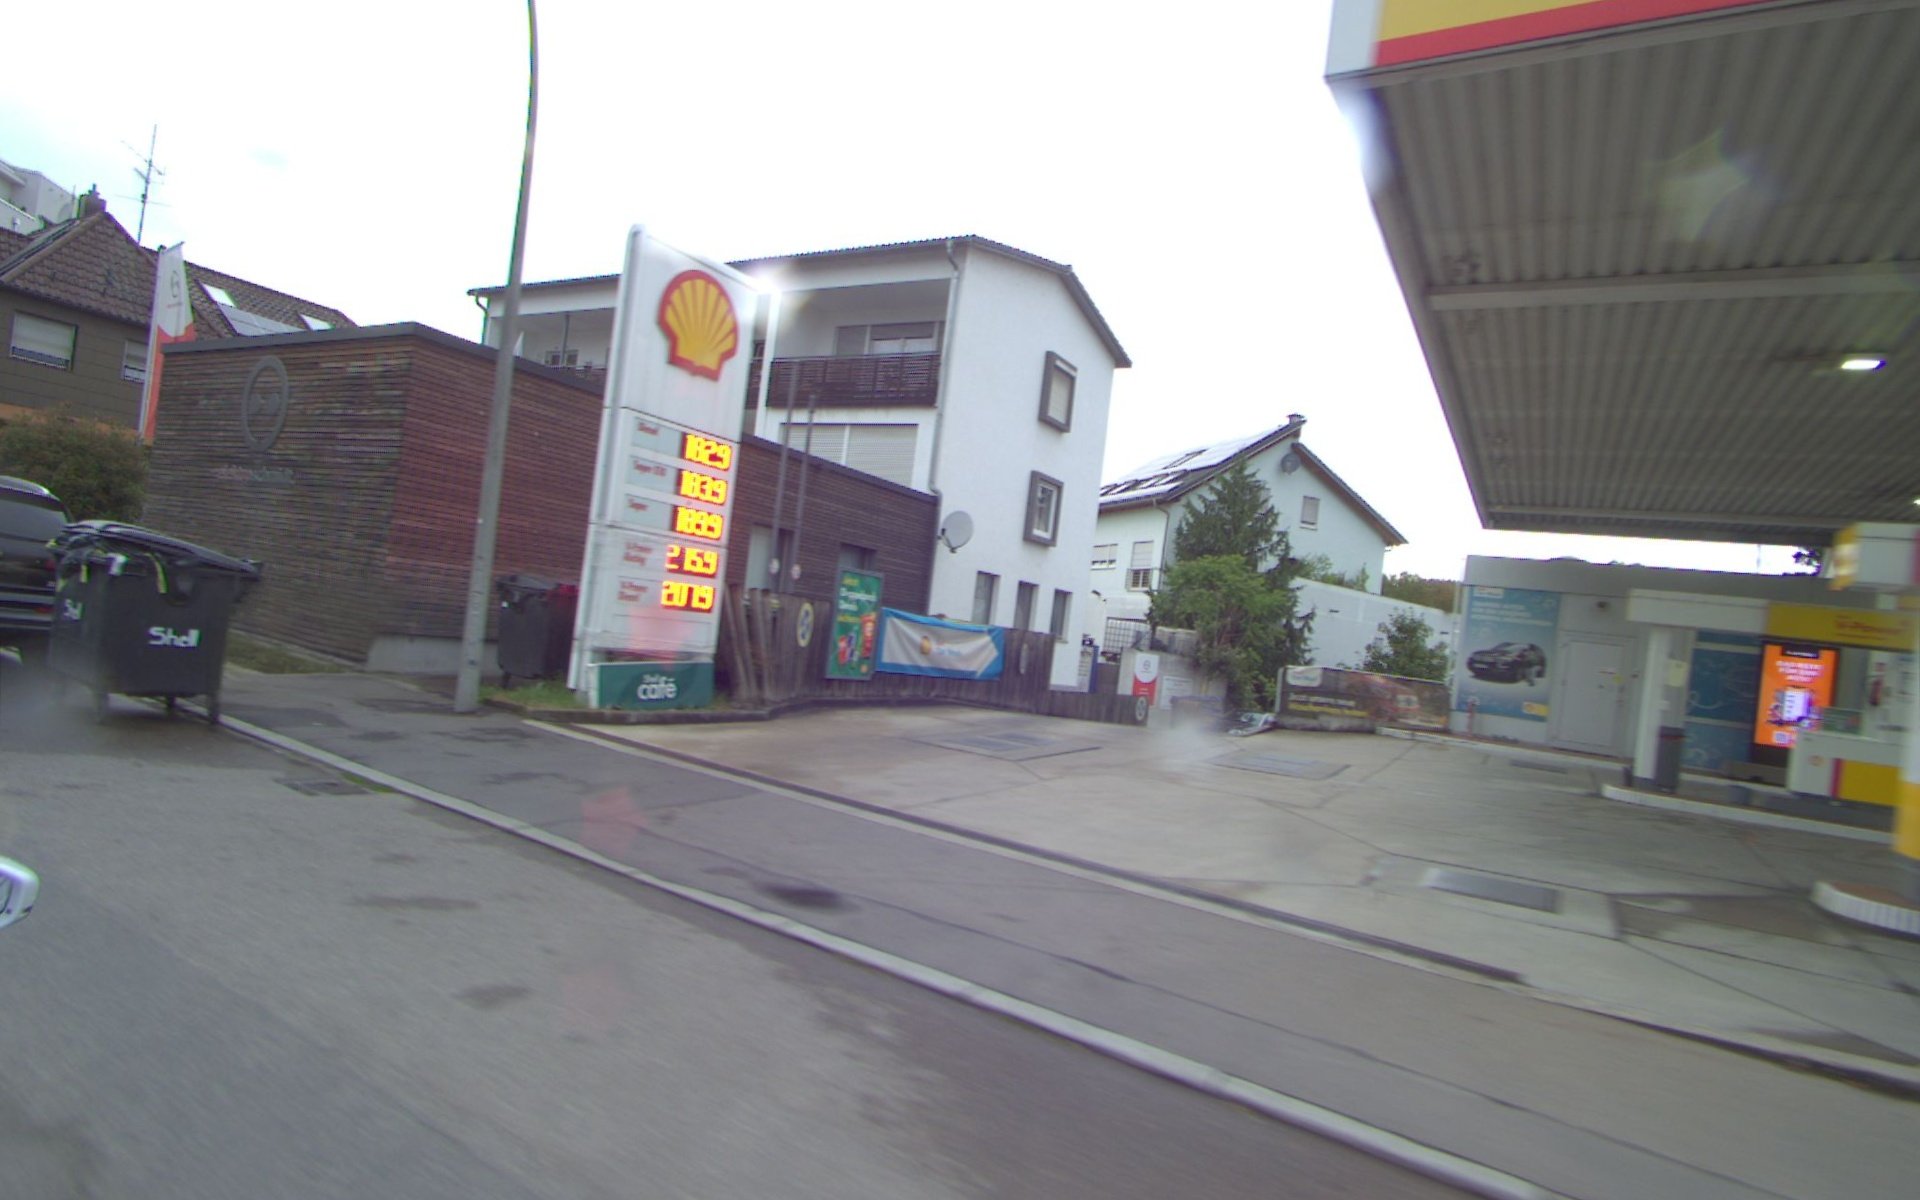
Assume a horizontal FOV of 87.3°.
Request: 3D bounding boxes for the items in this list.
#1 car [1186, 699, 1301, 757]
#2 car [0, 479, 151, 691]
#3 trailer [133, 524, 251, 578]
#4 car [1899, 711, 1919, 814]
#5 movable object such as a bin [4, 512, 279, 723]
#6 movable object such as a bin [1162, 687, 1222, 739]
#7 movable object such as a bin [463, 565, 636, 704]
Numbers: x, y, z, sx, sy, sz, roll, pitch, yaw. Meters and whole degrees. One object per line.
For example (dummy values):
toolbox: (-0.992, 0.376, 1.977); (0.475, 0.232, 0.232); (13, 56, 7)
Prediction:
car: (8.653, 3.853, 30.520); (1.655, 1.393, 3.818); (7, 0, 44)
car: (-9.773, -0.403, 9.272); (4.483, 1.681, 2.096); (8, -1, 32)
trailer: (-17.529, -1.099, 23.006); (0.904, 1.048, 1.916); (7, 3, 26)
car: (15.628, 2.571, 13.697); (3.716, 1.483, 1.743); (7, 0, 31)
movable object such as a bin: (-6.458, 0.134, 7.955); (1.478, 1.405, 1.128); (7, 0, 30)
movable object such as a bin: (6.509, 3.156, 28.192); (1.067, 1.256, 1.210); (8, 1, 43)
movable object such as a bin: (-4.683, 0.399, 11.507); (1.361, 1.356, 1.104); (7, 0, 30)
